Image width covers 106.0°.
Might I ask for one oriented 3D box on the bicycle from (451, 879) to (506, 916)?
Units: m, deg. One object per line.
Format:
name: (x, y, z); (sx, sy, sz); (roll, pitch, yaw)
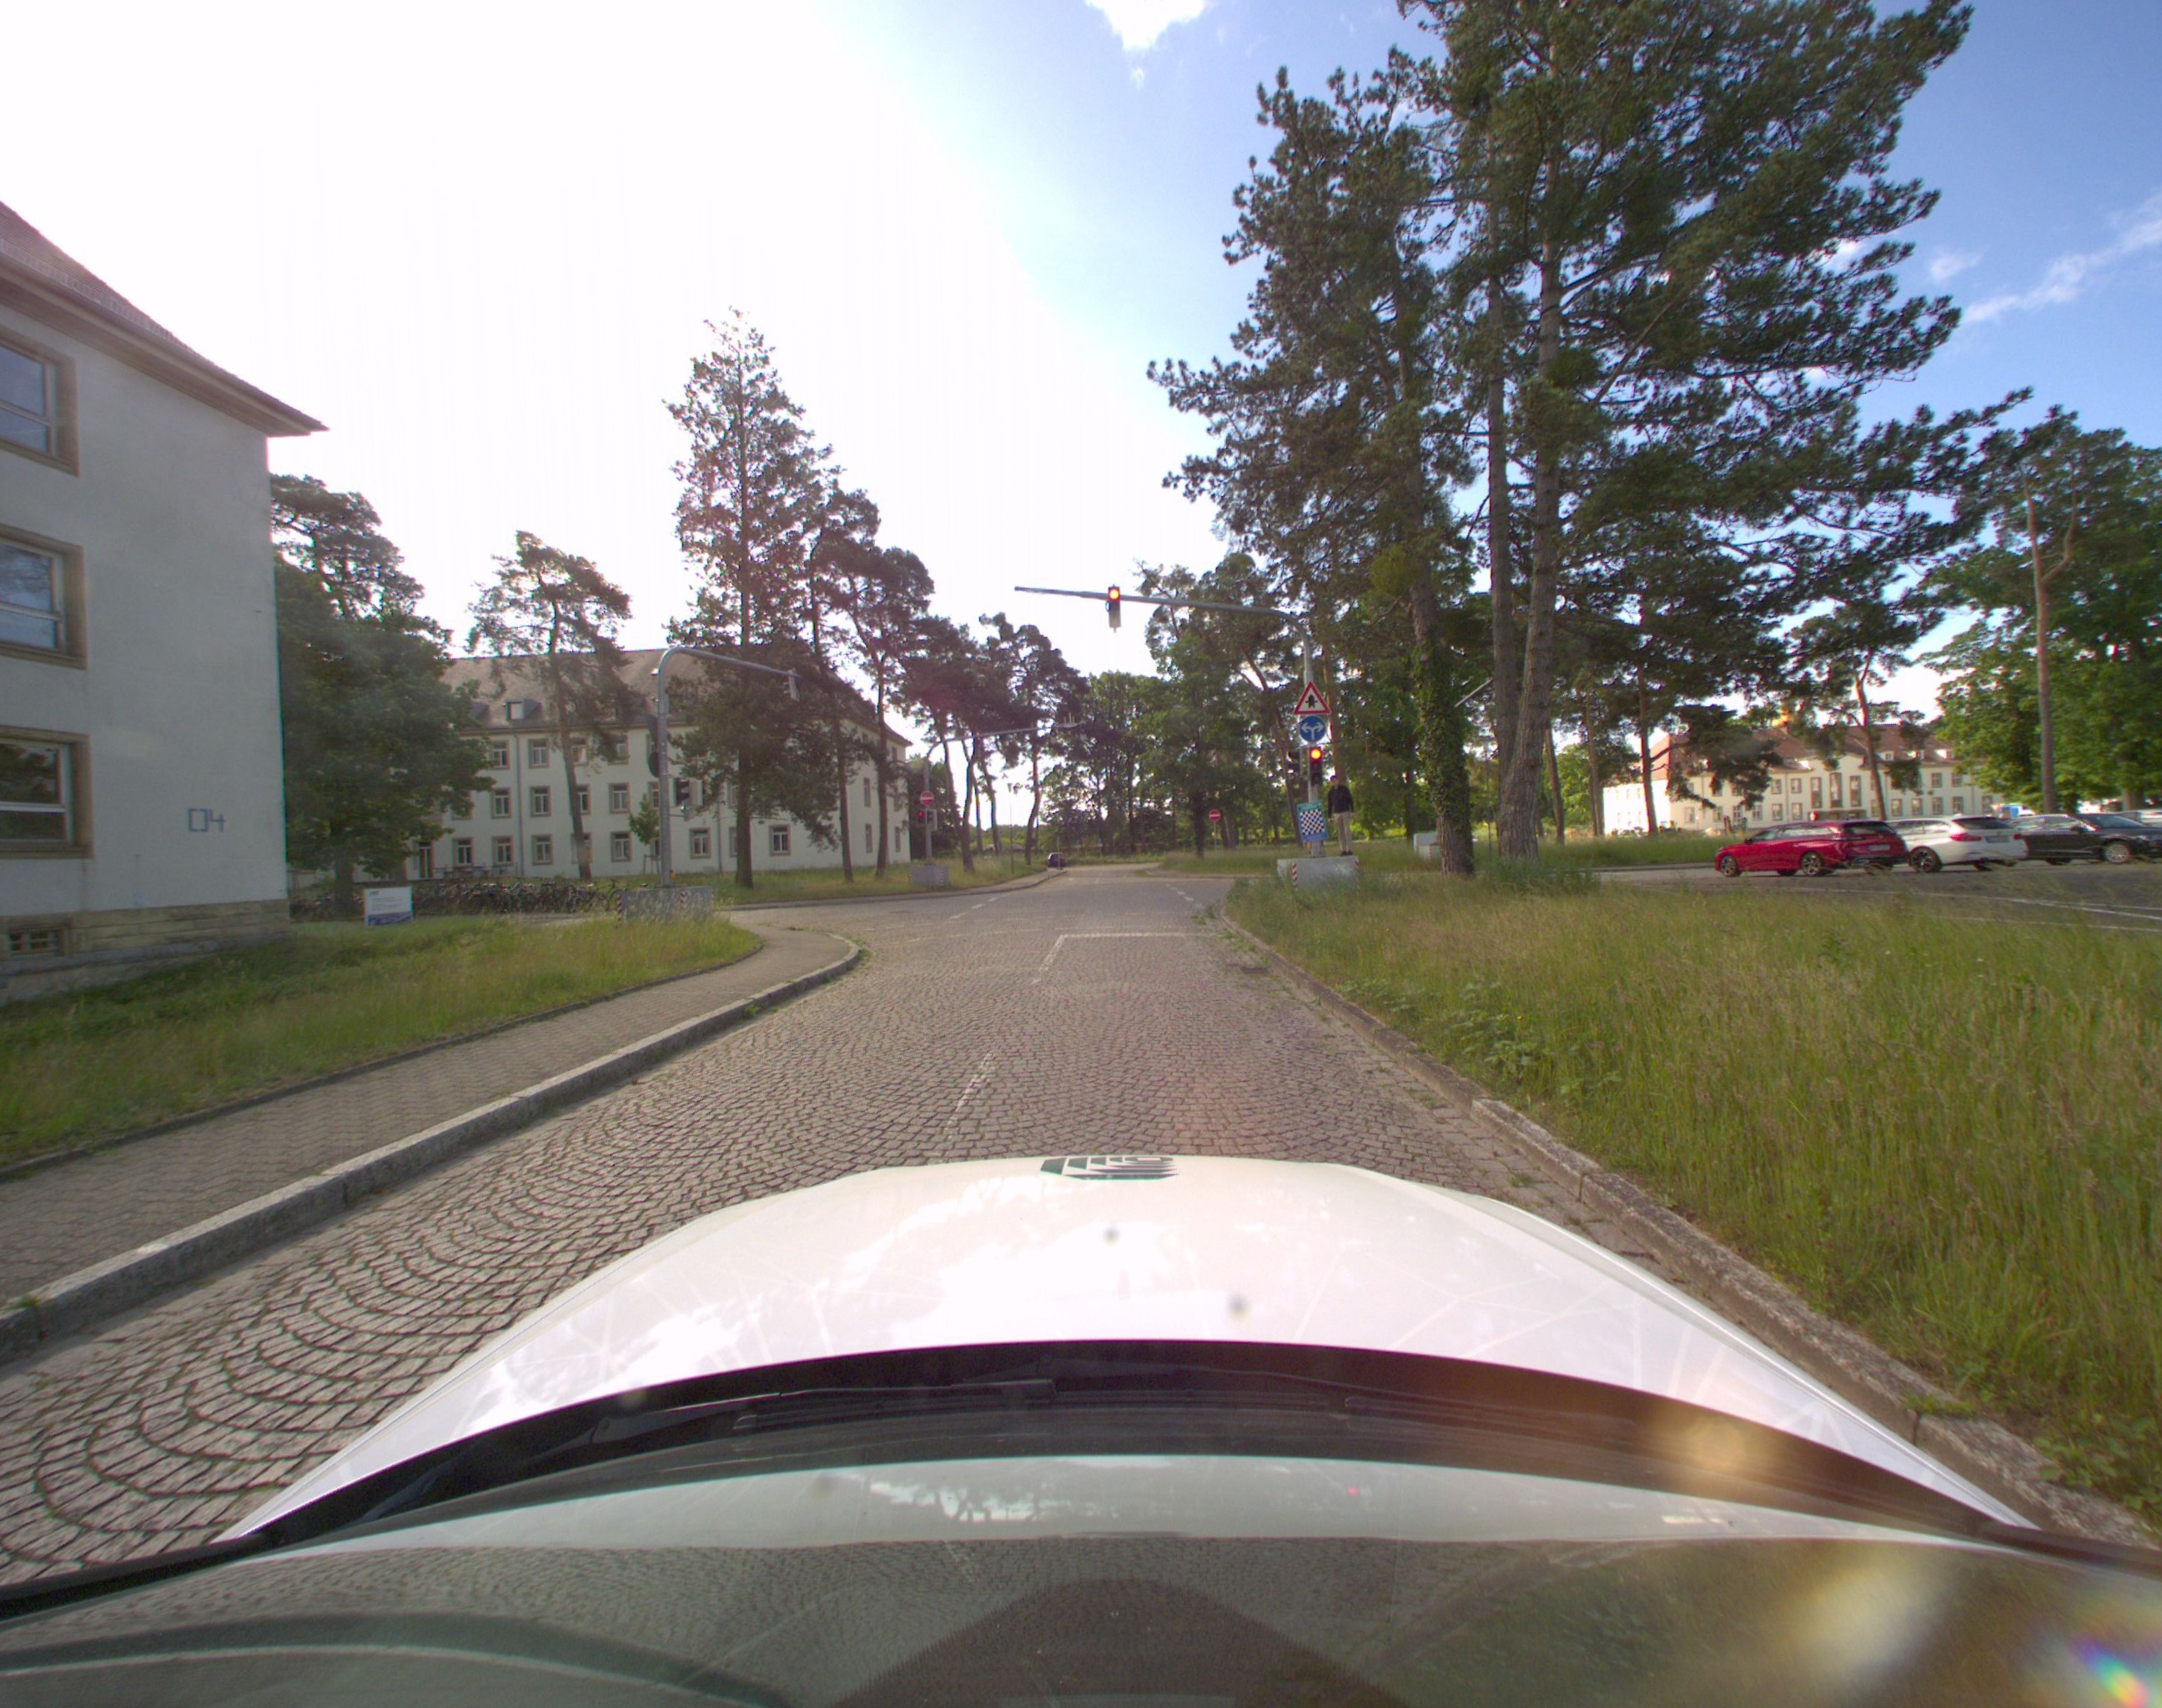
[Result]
bicycle: (-22.430, 1.596, 30.361); (0.512, 1.220, 1.955); (-3, 0, 2)

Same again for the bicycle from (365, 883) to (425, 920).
bicycle: (-25.620, 1.758, 30.463); (0.512, 1.220, 1.938); (-3, 0, 2)

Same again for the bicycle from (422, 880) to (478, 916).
bicycle: (-23.529, 1.620, 30.415); (0.512, 1.220, 1.938); (-3, 0, 2)

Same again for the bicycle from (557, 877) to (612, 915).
bicycle: (-18.071, 1.509, 29.704); (0.630, 1.220, 2.105); (-3, 0, 2)

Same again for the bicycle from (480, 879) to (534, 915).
bicycle: (-21.386, 1.579, 30.381); (0.512, 1.220, 1.978); (-3, 0, 2)

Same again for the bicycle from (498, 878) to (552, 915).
bicycle: (-20.737, 1.564, 30.416); (0.512, 1.220, 2.016); (-3, 0, 2)

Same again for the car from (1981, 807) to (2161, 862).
car: (27.134, -0.520, 21.823); (1.610, 1.315, 4.048); (-3, 0, 3)

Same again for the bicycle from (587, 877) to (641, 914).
bicycle: (-16.985, 1.483, 29.686); (0.630, 1.220, 2.115); (-3, 0, 2)

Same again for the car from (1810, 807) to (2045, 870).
car: (22.102, -0.336, 21.559); (1.773, 1.379, 4.240); (-3, -2, 0)

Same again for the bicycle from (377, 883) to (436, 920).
bicycle: (-25.191, 1.748, 30.455); (0.512, 1.220, 1.938); (-3, 0, 2)

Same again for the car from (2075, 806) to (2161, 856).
car: (30.154, -0.641, 22.154); (1.716, 1.372, 3.796); (-1, 0, 4)

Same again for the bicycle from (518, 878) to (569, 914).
bicycle: (-20.215, 1.550, 30.682); (0.546, 1.220, 1.900); (-3, 0, 2)

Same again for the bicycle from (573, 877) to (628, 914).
bicycle: (-17.468, 1.495, 29.686); (0.630, 1.220, 2.125); (-3, 0, 2)

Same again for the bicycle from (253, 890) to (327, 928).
bicycle: (-28.552, 1.979, 29.427); (0.509, 1.220, 1.841); (-2, 0, 39)

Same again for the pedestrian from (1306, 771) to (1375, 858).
pedestrian: (5.736, -0.857, 17.976); (1.157, 1.796, 1.069); (-3, 0, 31)

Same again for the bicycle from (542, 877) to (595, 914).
bicycle: (-18.914, 1.525, 30.106); (0.570, 1.220, 1.990); (-3, 0, 2)

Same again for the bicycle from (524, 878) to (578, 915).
bicycle: (-19.657, 1.543, 30.249); (0.576, 1.220, 2.030); (-3, 0, 2)

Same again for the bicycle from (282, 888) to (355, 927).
bicycle: (-27.442, 1.915, 29.350); (1.836, 1.220, 0.510); (-3, 0, -34)

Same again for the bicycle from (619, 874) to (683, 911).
bicycle: (-15.628, 1.388, 29.615); (1.937, 1.220, 0.635); (-3, 0, 1)

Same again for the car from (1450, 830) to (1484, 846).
car: (42.925, -1.765, 90.612); (1.820, 1.582, 4.165); (-3, 0, 2)

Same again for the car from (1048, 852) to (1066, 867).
car: (-2.522, 0.565, 85.957); (1.704, 1.496, 3.918); (-3, 0, 0)

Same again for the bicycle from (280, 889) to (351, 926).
bicycle: (-28.515, 1.974, 30.361); (0.509, 1.220, 1.841); (-2, 0, 39)

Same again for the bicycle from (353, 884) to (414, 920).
bicycle: (-26.067, 1.768, 30.478); (0.512, 1.220, 1.938); (-3, 0, 2)

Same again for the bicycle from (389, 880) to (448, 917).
bicycle: (-24.731, 1.647, 30.443); (0.512, 1.220, 1.938); (-3, 0, 2)

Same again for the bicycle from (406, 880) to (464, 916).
bicycle: (-24.121, 1.633, 30.444); (0.512, 1.220, 1.938); (-3, 0, 2)

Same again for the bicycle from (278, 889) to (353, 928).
bicycle: (-27.061, 1.916, 28.835); (1.836, 1.220, 0.510); (-3, 0, -34)

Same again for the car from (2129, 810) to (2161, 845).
car: (44.864, -1.080, 32.092); (1.717, 1.424, 4.243); (-1, 0, 2)

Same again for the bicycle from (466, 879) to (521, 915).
bicycle: (-21.903, 1.587, 30.385); (0.512, 1.220, 1.978); (-3, 0, 2)

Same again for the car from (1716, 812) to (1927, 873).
car: (19.270, -0.253, 21.508); (1.740, 1.399, 4.329); (-1, -1, 2)

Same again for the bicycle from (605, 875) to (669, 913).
bicycle: (-15.754, 1.416, 28.903); (1.855, 1.220, 0.635); (-3, 0, 1)

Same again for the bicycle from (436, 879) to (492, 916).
bicycle: (-22.984, 1.608, 30.383); (0.512, 1.220, 1.938); (-3, 0, 2)
